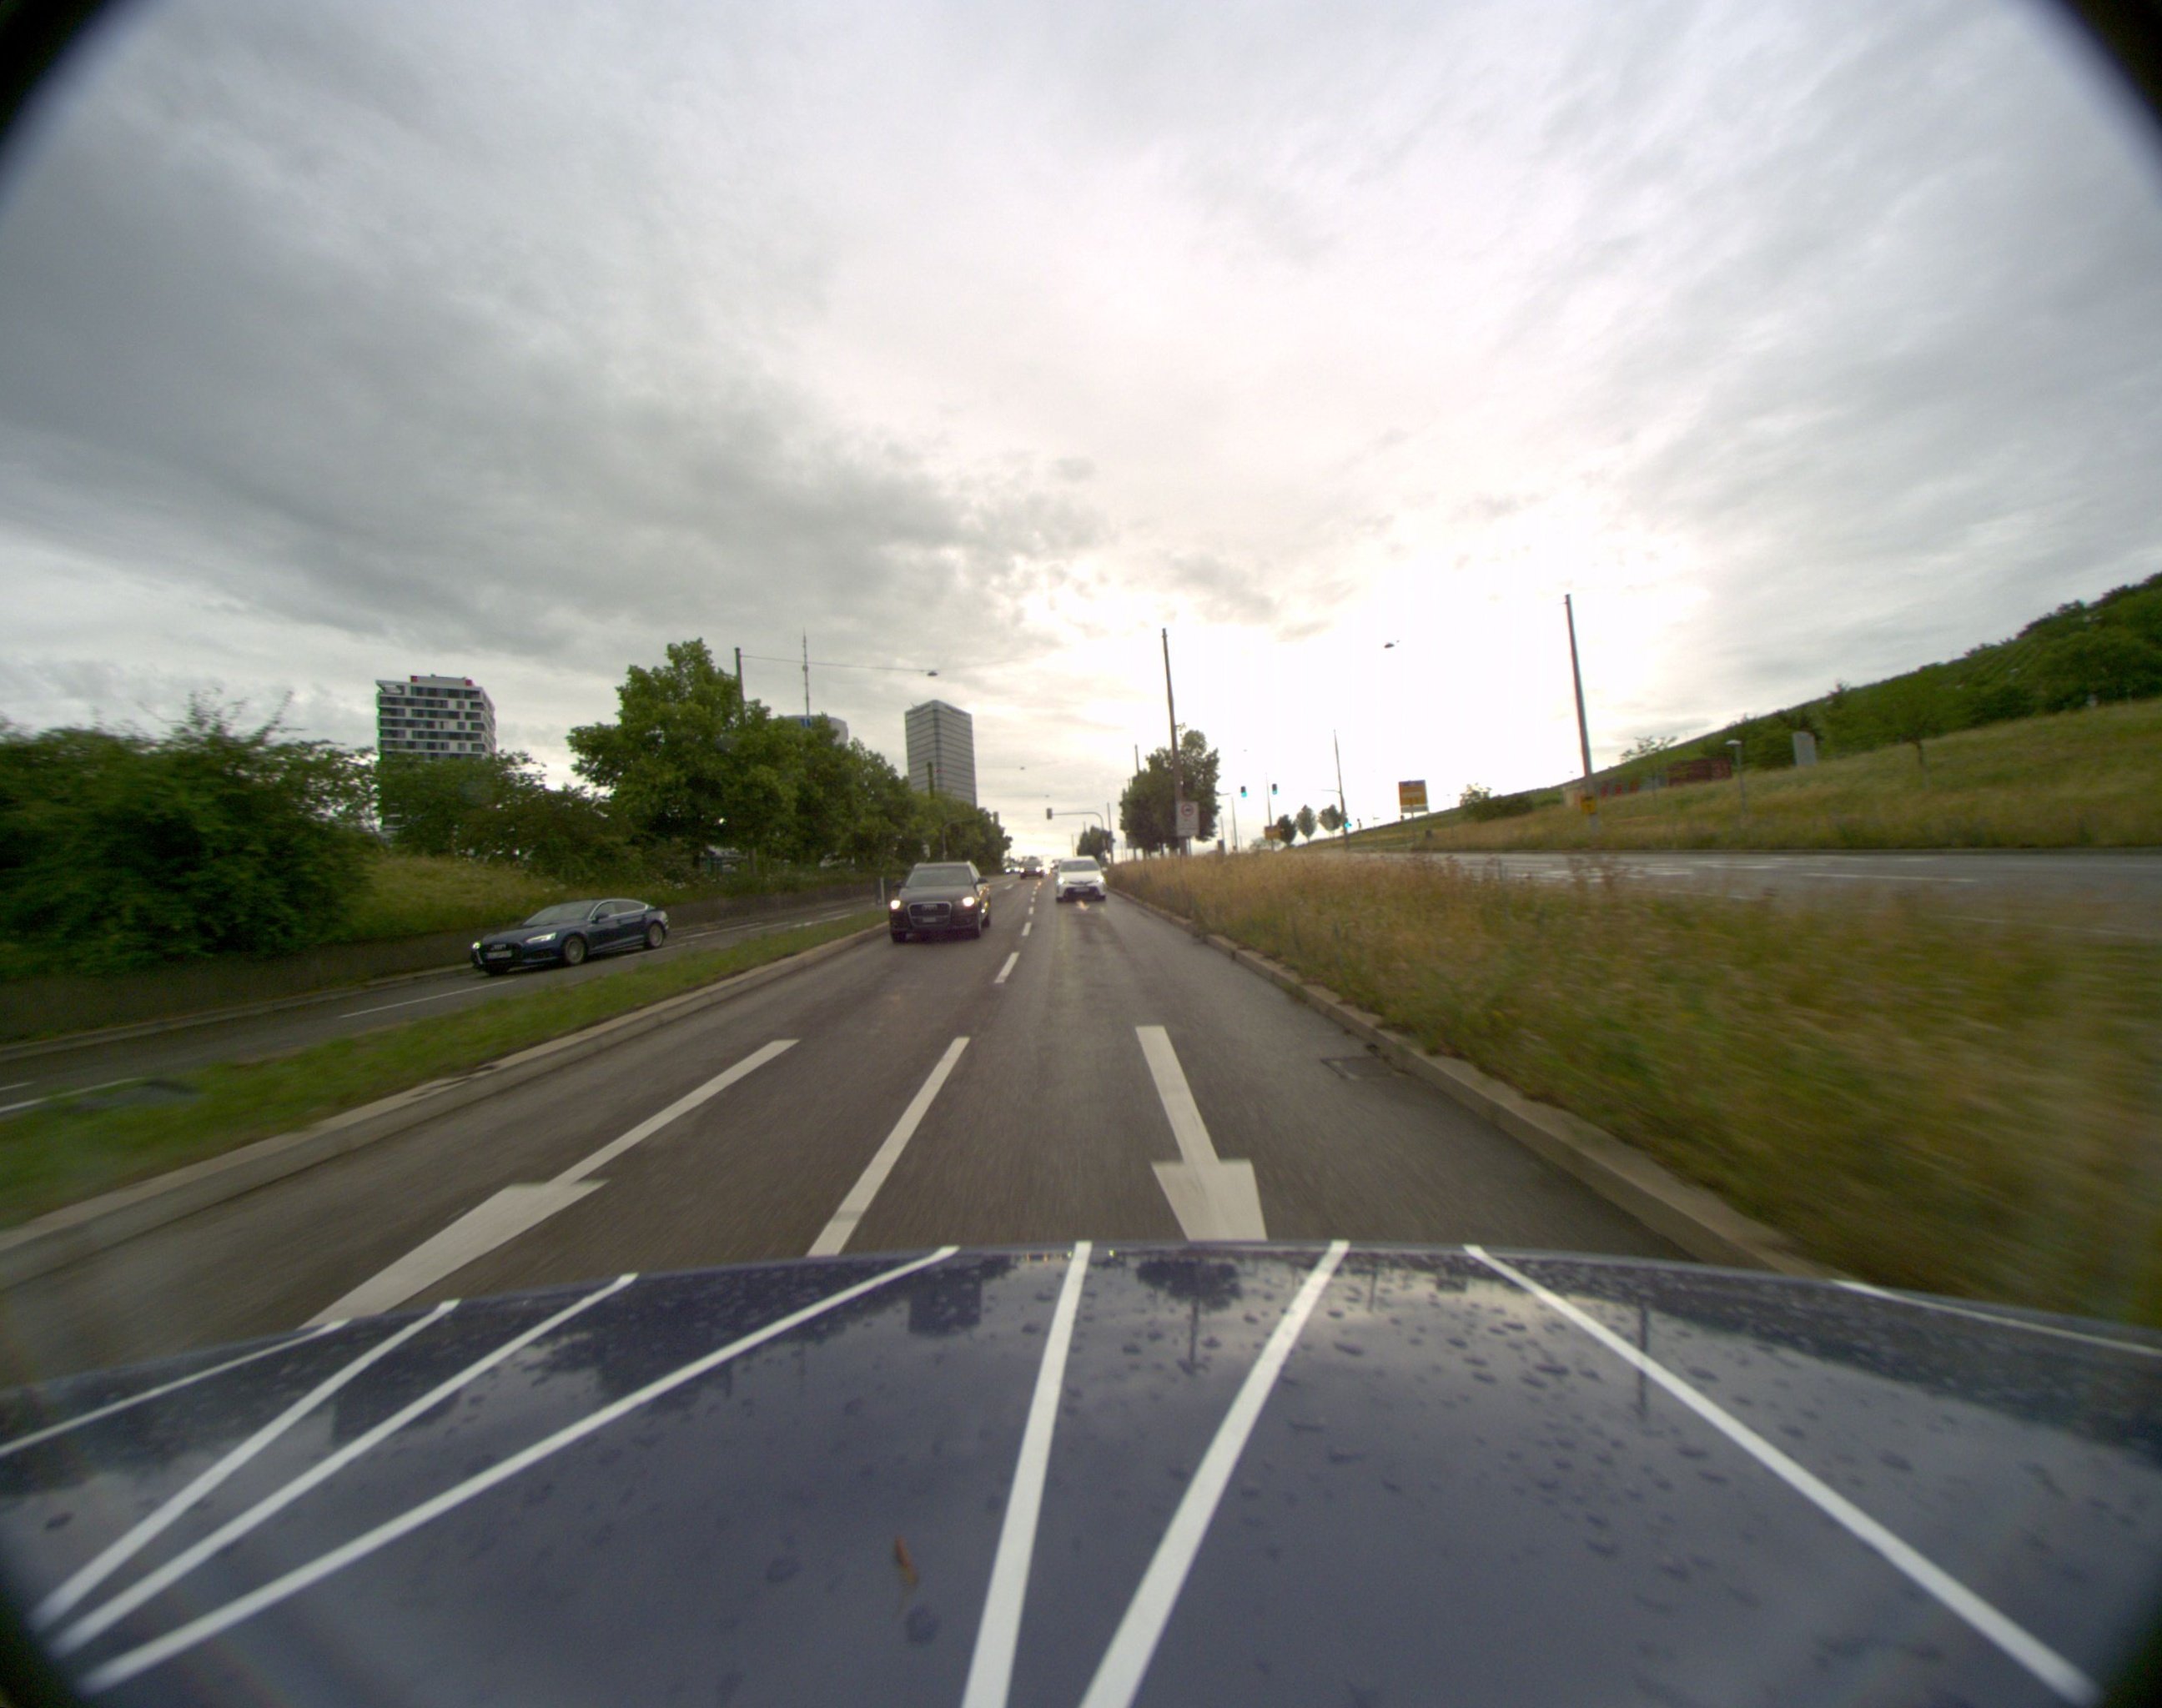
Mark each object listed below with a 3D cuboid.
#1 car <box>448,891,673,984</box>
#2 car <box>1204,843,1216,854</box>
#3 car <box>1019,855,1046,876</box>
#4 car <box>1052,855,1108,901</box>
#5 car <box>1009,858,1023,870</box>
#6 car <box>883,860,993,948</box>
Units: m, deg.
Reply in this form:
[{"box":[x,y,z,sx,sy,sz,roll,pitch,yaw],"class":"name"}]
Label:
[{"box":[-11.278,1.730,16.940,1.876,1.417,4.347,-4,1,1],"class":"car"},{"box":[18.896,-0.801,111.385,1.541,1.381,3.929,-4,1,7],"class":"car"},{"box":[-3.842,0.913,60.730,1.730,1.463,4.264,-3,-1,0],"class":"car"},{"box":[0.052,0.825,28.150,1.826,1.574,4.298,-1,0,3],"class":"car"},{"box":[-8.918,1.367,104.121,1.636,1.466,3.676,-4,-3,-8],"class":"car"},{"box":[-2.993,0.972,16.699,1.730,1.525,4.125,-4,1,-3],"class":"car"}]
